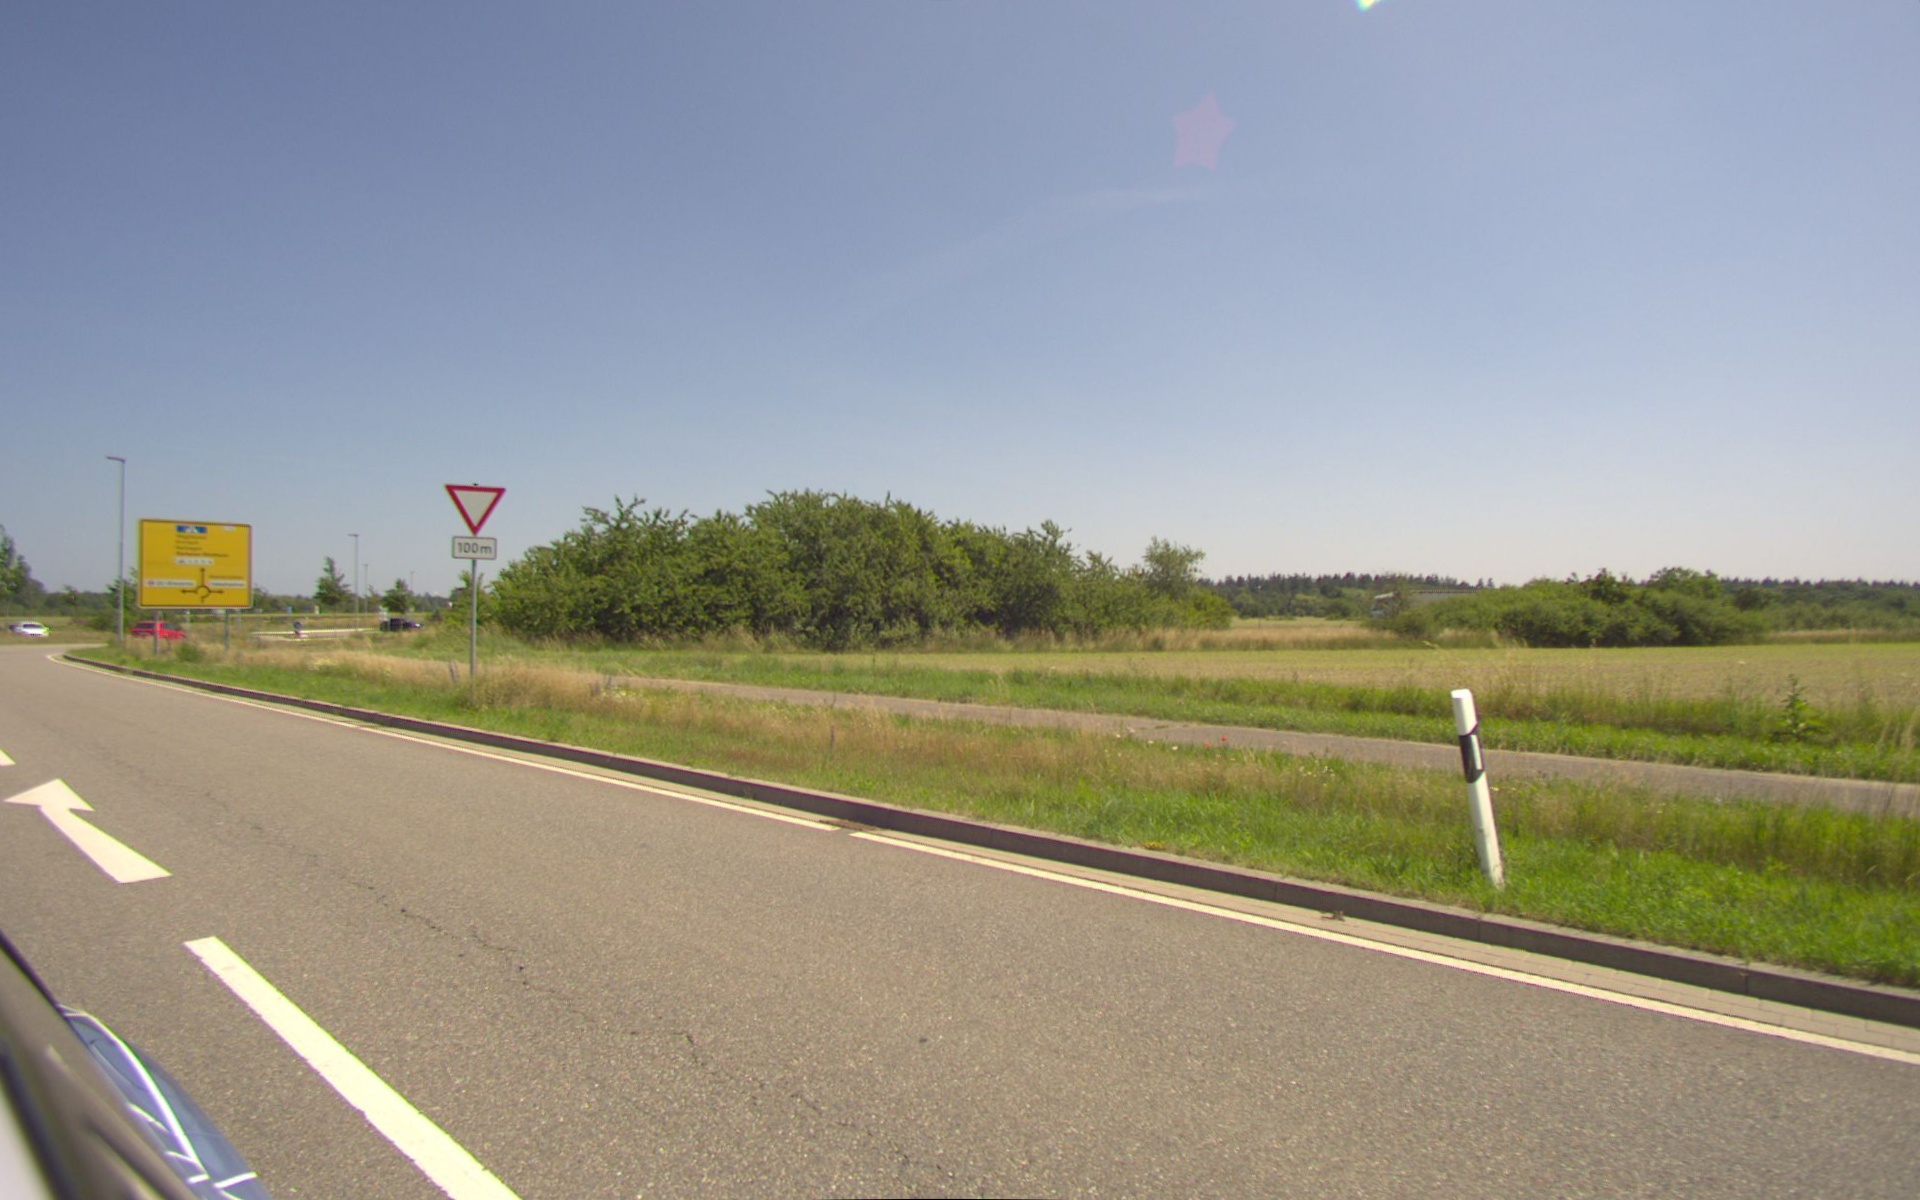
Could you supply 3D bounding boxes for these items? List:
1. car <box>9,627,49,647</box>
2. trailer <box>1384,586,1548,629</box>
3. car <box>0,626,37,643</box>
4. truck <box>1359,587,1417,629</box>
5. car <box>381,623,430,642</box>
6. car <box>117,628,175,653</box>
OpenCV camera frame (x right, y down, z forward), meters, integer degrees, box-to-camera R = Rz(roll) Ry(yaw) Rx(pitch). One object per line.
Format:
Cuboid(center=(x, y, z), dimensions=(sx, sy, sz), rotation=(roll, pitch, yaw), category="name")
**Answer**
Cuboid(center=(-71.913, 2.851, 78.170), dimensions=(3.996, 1.438, 1.724), rotation=(-1, -1, 39), category="car")
Cuboid(center=(48.424, 0.733, 97.349), dimensions=(13.738, 3.964, 2.633), rotation=(-1, -1, 13), category="trailer")
Cuboid(center=(-79.196, 2.867, 84.911), dimensions=(3.990, 1.321, 1.727), rotation=(-1, -1, 35), category="car")
Cuboid(center=(41.788, 0.791, 98.840), dimensions=(4.730, 3.964, 2.633), rotation=(-1, -1, 12), category="truck")
Cuboid(center=(-56.498, 3.317, 103.128), dimensions=(4.480, 1.836, 1.860), rotation=(0, 0, 16), category="car")
Cuboid(center=(-48.404, 2.375, 60.280), dimensions=(1.632, 1.444, 3.748), rotation=(1, -2, -22), category="car")
